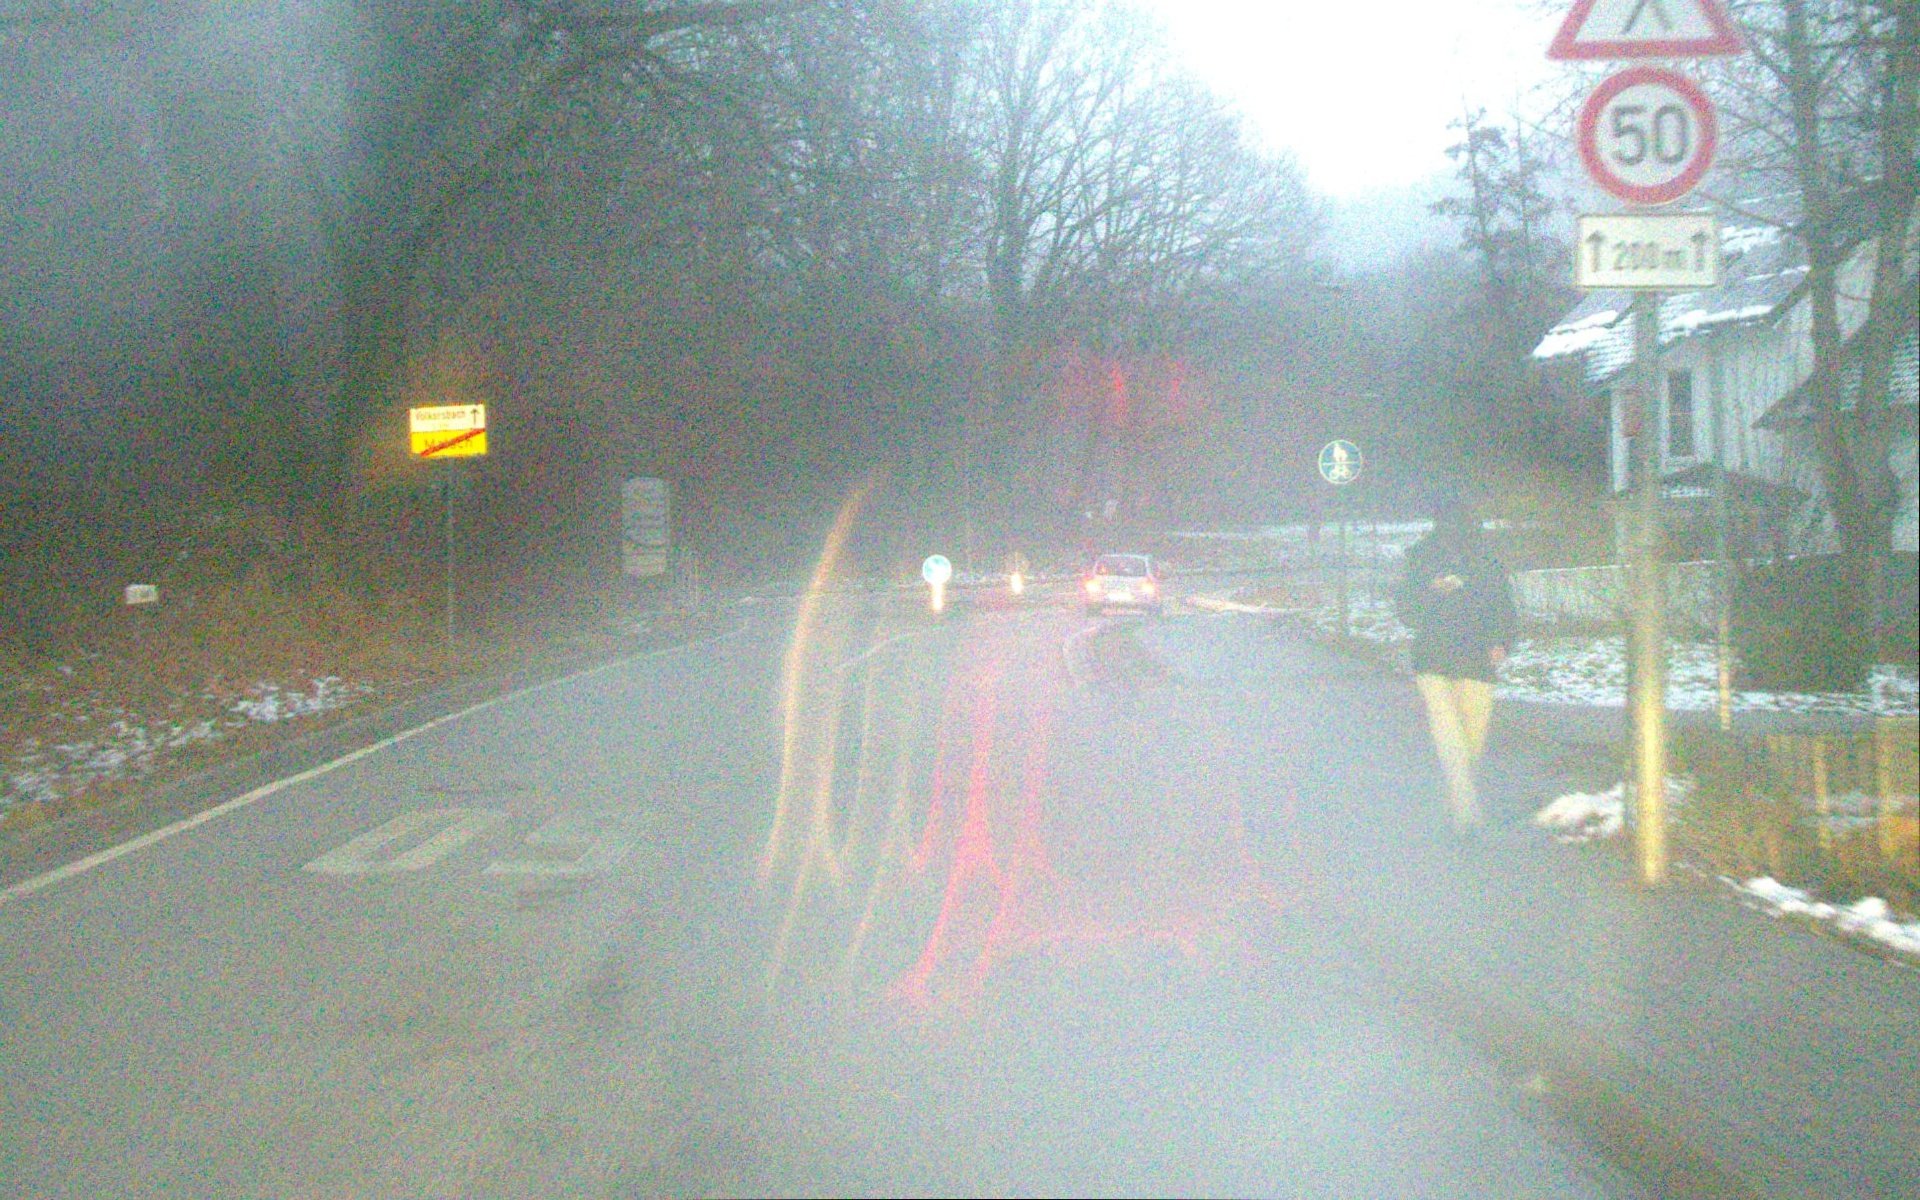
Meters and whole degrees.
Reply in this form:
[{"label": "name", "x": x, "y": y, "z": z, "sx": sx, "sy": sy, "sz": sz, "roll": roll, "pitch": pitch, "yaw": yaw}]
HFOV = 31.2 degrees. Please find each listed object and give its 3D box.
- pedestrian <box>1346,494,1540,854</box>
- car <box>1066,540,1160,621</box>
[{"label": "pedestrian", "x": 2.284, "y": 0.331, "z": 16.352, "sx": 0.743, "sy": 1.649, "sz": 0.970, "roll": -1, "pitch": 1, "yaw": -2}, {"label": "car", "x": 3.556, "y": -0.469, "z": 79.287, "sx": 1.933, "sy": 1.775, "sz": 3.999, "roll": -1, "pitch": 1, "yaw": 6}]
